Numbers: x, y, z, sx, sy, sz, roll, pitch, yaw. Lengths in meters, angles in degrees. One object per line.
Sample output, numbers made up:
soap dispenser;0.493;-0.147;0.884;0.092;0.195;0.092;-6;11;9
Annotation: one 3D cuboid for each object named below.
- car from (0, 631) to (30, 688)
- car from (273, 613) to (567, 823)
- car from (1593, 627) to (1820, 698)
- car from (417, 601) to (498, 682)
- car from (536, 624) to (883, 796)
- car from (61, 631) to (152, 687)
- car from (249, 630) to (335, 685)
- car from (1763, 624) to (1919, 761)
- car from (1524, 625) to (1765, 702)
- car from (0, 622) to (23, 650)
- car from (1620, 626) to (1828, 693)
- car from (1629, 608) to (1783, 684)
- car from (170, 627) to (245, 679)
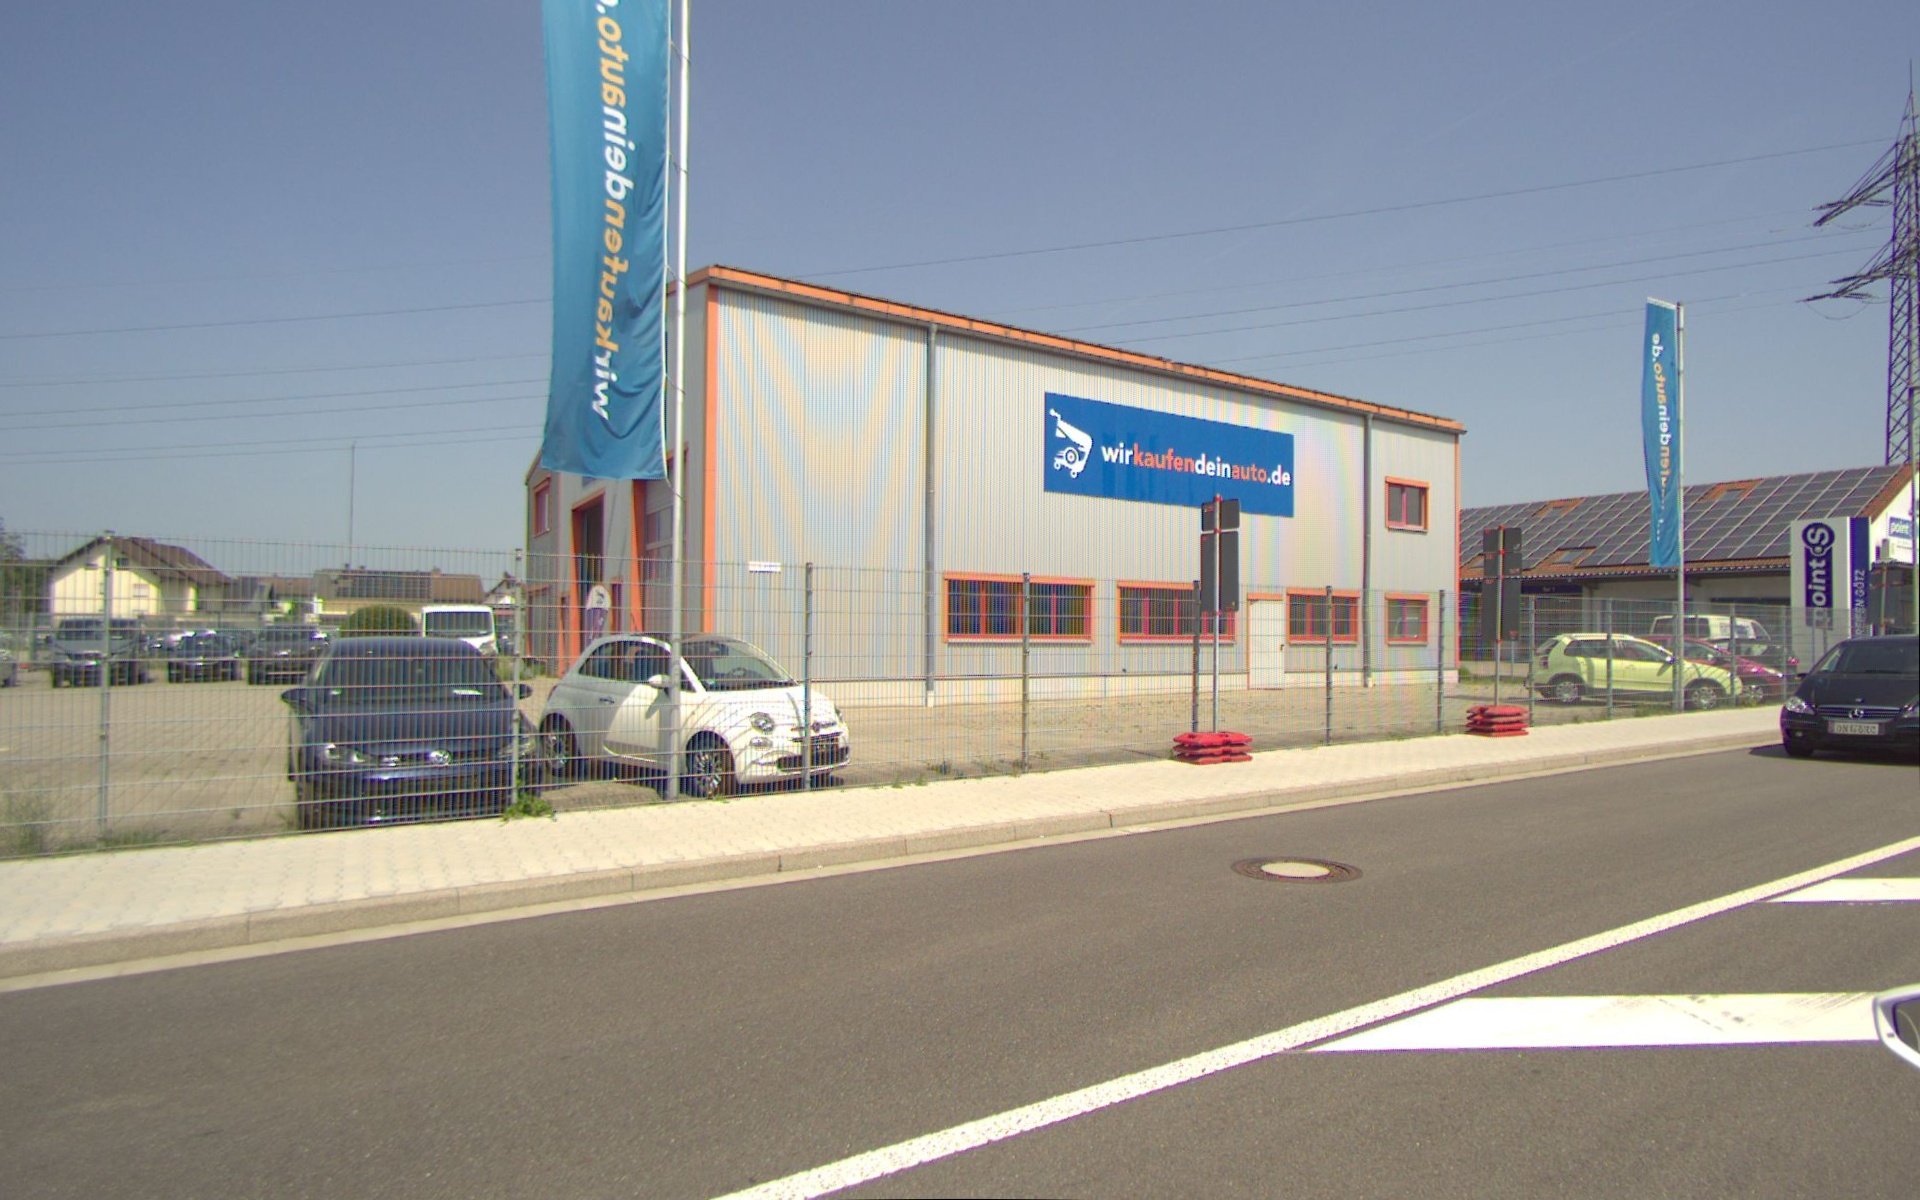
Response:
car;-27.586;1.652;28.037;1.756;1.522;3.964;1;-2;-33
car;-5.205;0.937;9.422;1.760;1.522;3.956;1;-3;-38
car;16.996;1.380;23.118;3.925;1.513;1.742;0;-1;26
car;-14.787;1.212;29.761;1.973;2.224;4.297;1;-2;-25
car;-2.634;1.004;10.390;3.428;1.484;1.586;-1;-2;33
car;-25.012;1.691;29.558;1.758;1.522;3.959;1;-2;-37
car;-18.755;1.569;28.222;1.855;1.439;4.039;1;-2;-34
car;12.563;1.162;13.386;3.754;1.614;1.732;1;-4;-32
car;14.586;1.316;21.675;4.015;1.513;1.743;0;-1;23
car;-55.418;2.047;57.501;1.755;1.522;4.128;2;-2;-31
car;18.583;1.401;24.678;3.932;1.513;1.739;-1;-2;33
car;21.539;1.340;28.968;4.627;2.040;1.984;2;-3;-31
car;-23.459;1.624;31.356;1.758;1.522;3.959;1;-2;-37
